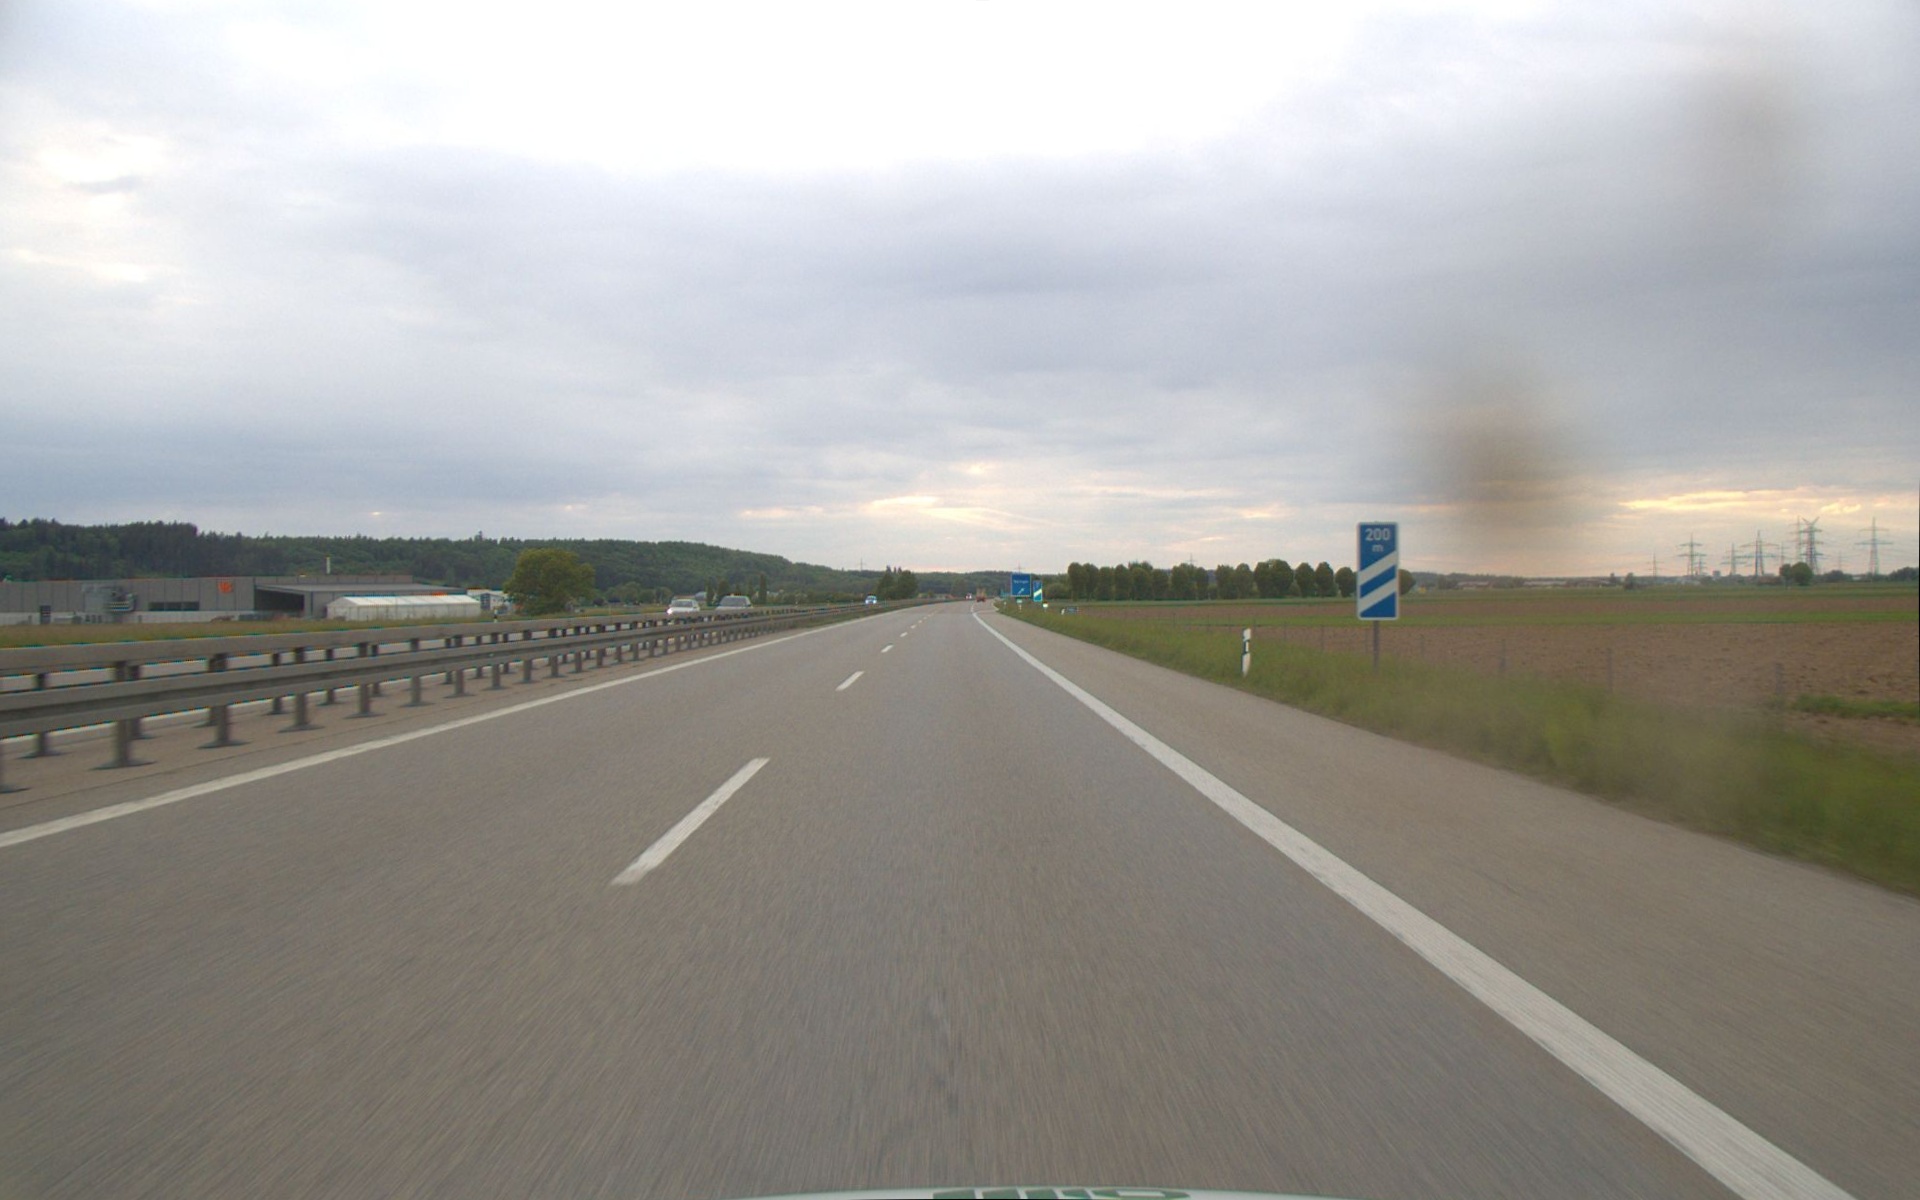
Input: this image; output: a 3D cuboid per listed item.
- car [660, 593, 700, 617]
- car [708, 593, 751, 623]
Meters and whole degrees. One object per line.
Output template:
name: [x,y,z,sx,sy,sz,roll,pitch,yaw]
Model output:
car: [-18.465,0.302,109.336,1.953,1.522,4.761,-1,0,-2]
car: [-13.470,0.447,96.884,1.953,1.730,4.301,1,0,-1]
